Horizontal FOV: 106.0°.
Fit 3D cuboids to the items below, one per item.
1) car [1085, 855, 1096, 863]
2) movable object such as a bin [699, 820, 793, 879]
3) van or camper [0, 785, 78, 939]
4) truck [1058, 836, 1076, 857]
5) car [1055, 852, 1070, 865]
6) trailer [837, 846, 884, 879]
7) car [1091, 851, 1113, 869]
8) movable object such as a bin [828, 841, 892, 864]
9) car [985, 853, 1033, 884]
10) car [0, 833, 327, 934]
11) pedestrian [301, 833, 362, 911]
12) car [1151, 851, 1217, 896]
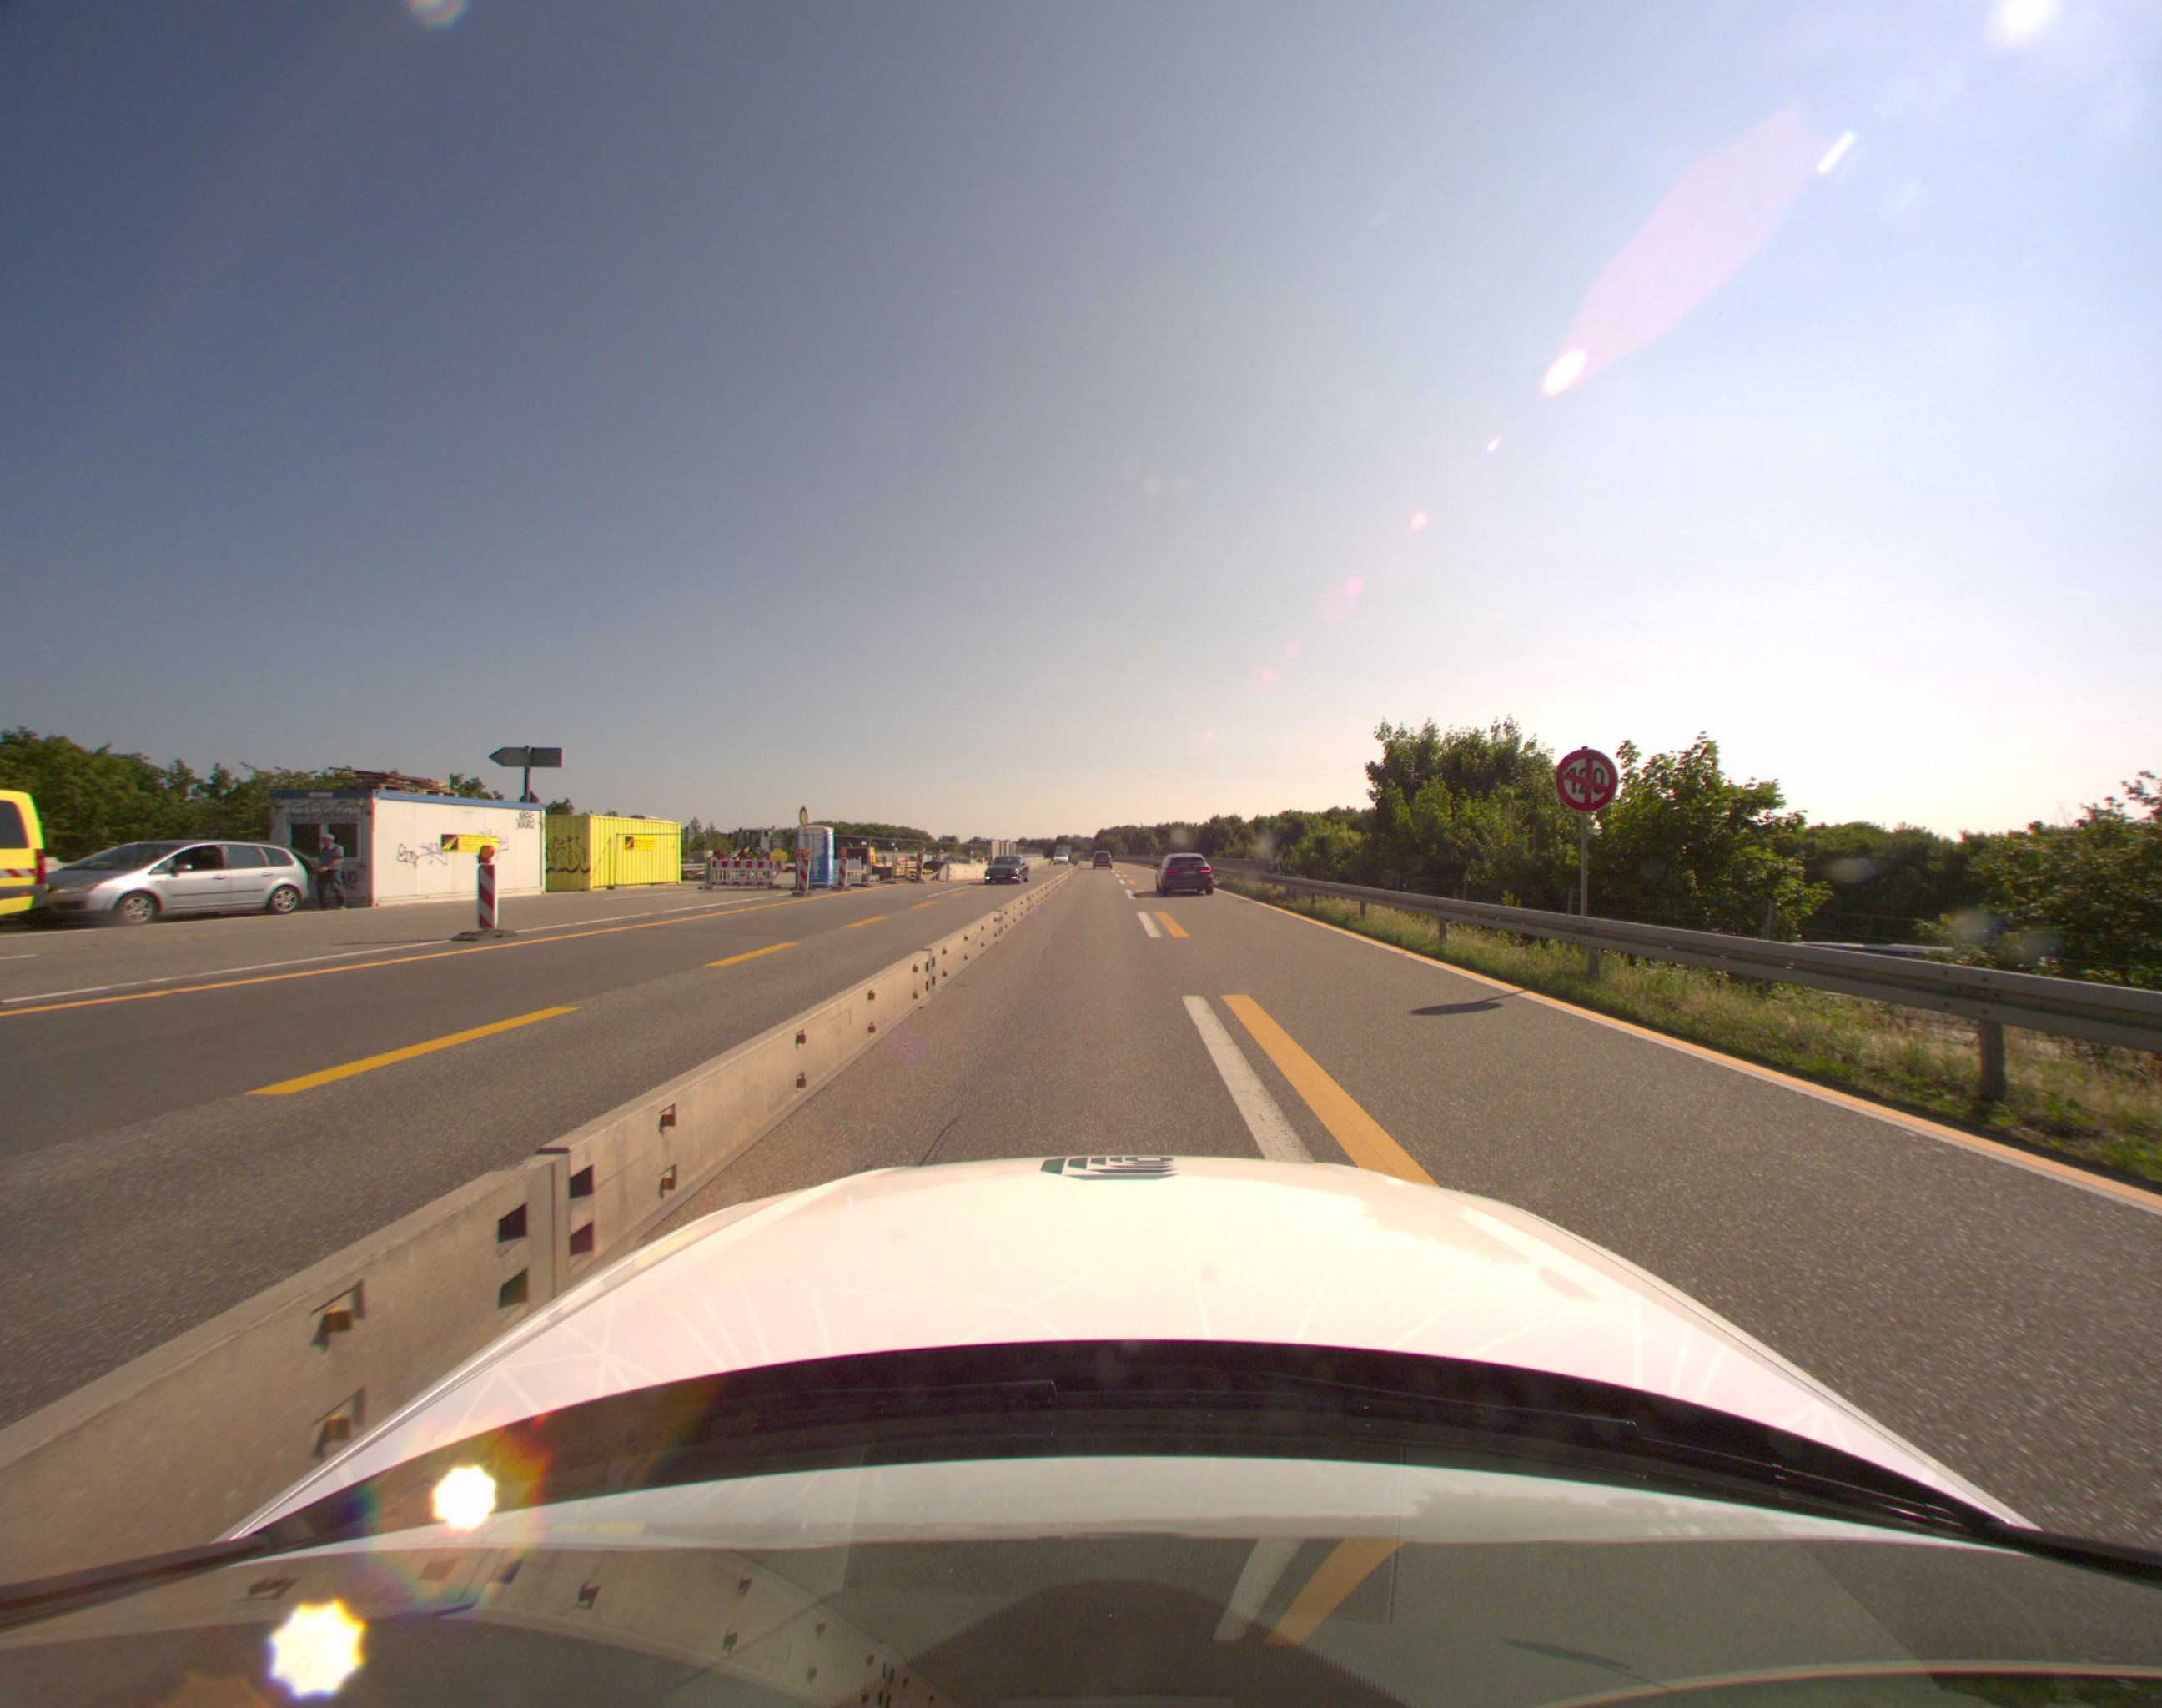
[{"bbox_3d":[2.091,1.130,182.758,1.991,1.688,3.992,0,0,-6],"label":"car"},{"bbox_3d":[-16.554,-0.210,40.581,2.021,2.715,5.117,0,0,7],"label":"movable object such as a bin"},{"bbox_3d":[-17.545,0.125,10.428,1.989,2.378,6.193,0,0,-4],"label":"van or camper"},{"bbox_3d":[-3.723,-1.897,206.356,3.754,4.911,14.115,1,0,-4],"label":"truck"},{"bbox_3d":[-2.557,0.599,110.970,1.976,1.651,4.547,1,0,-1],"label":"car"},{"bbox_3d":[-11.588,0.442,42.961,1.716,1.648,3.528,1,0,-5],"label":"trailer"},{"bbox_3d":[1.990,0.519,75.526,1.985,1.567,4.003,-1,0,2],"label":"car"},{"bbox_3d":[-20.408,-0.119,75.157,5.347,2.116,2.249,0,0,20],"label":"movable object such as a bin"},{"bbox_3d":[-3.624,0.697,41.745,1.852,1.473,4.687,1,0,2],"label":"car"},{"bbox_3d":[-17.716,0.499,15.982,1.682,1.685,4.456,1,0,-1],"label":"car"},{"bbox_3d":[-17.238,0.403,18.751,0.720,1.762,0.720,0,0,0],"label":"pedestrian"},{"bbox_3d":[3.669,0.636,29.529,1.914,1.494,4.000,-1,0,1],"label":"car"}]
